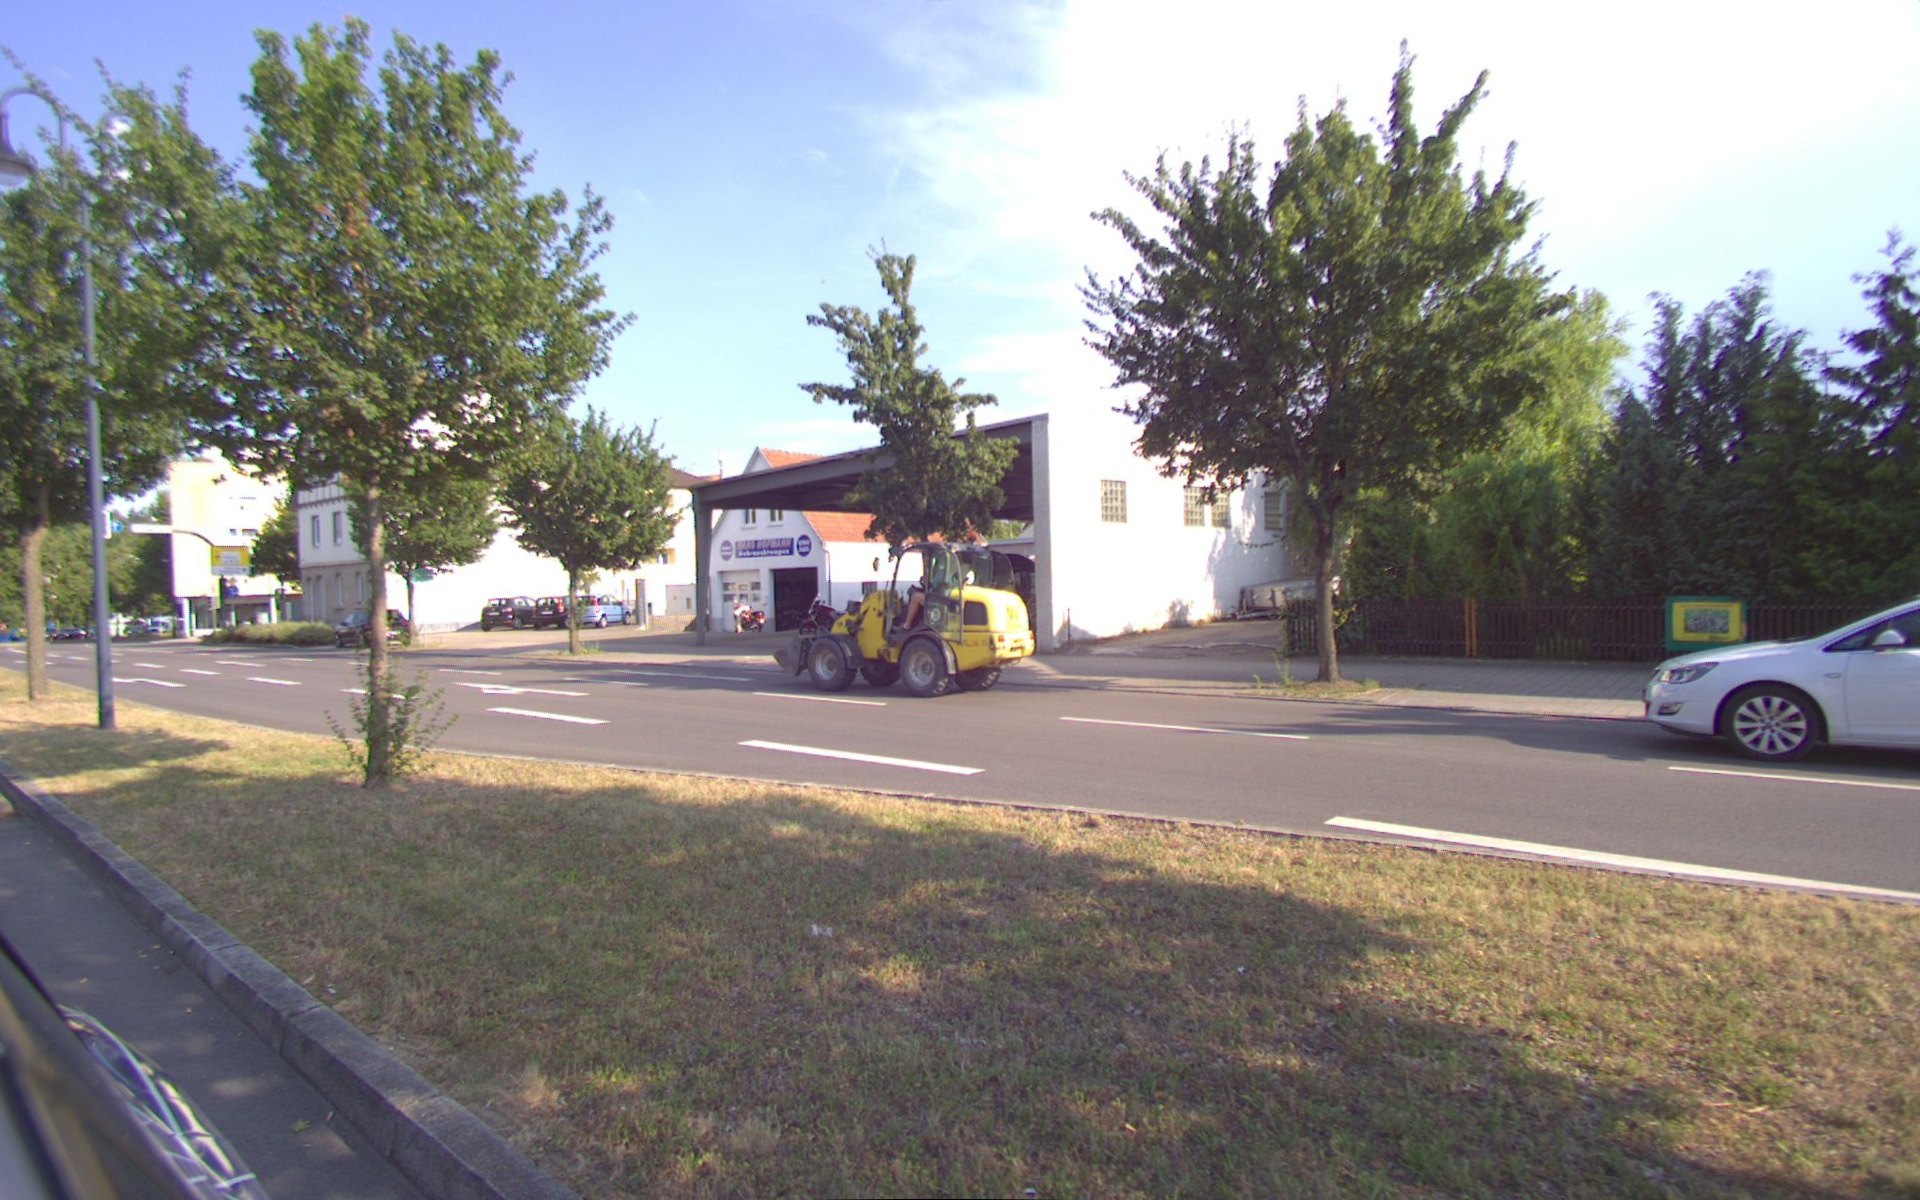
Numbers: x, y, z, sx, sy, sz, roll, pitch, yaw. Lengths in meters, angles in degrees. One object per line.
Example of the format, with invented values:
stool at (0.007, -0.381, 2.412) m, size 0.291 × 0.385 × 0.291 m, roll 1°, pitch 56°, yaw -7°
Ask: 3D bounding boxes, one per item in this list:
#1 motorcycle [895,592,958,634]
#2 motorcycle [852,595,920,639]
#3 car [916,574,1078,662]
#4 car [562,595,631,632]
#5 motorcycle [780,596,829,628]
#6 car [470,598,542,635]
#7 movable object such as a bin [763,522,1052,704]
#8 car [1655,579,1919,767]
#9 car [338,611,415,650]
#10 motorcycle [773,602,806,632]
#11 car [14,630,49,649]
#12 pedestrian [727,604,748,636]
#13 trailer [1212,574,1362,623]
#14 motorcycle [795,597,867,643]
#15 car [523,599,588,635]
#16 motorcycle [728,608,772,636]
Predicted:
motorcycle at (-1.145, 0.447, 34.556) m, size 2.089 × 1.332 × 0.488 m, roll -2°, pitch 0°, yaw 1°
motorcycle at (-2.397, 0.556, 32.652) m, size 2.095 × 1.332 × 0.487 m, roll -2°, pitch 0°, yaw 9°
car at (1.460, 0.651, 37.775) m, size 5.734 × 2.982 × 2.670 m, roll -2°, pitch 0°, yaw 8°
car at (-16.212, 0.581, 45.297) m, size 1.601 × 1.555 × 3.426 m, roll -1°, pitch 0°, yaw 5°
motorcycle at (-6.865, 0.520, 44.686) m, size 2.082 × 1.332 × 0.490 m, roll -2°, pitch 0°, yaw -28°
car at (-21.071, 0.737, 47.130) m, size 1.836 × 1.638 × 3.410 m, roll -1°, pitch 0°, yaw -1°
movable object such as a bin at (-0.994, 0.203, 16.074) m, size 4.977 × 2.480 × 1.536 m, roll -1°, pitch -1°, yaw 43°
car at (8.177, 0.537, 8.008) m, size 4.213 × 1.424 × 1.673 m, roll -1°, pitch 0°, yaw 43°
car at (-22.701, 1.158, 39.366) m, size 3.432 × 1.327 × 1.650 m, roll -1°, pitch 3°, yaw 44°
motorcycle at (-7.883, 0.759, 46.973) m, size 0.485 × 1.332 × 2.104 m, roll -2°, pitch 0°, yaw 21°
car at (-106.100, 4.457, 115.675) m, size 1.966 × 2.029 × 4.013 m, roll -1°, pitch 0°, yaw -28°
pedestrian at (-9.374, 0.836, 42.681) m, size 0.583 × 1.350 × 0.589 m, roll -1°, pitch 0°, yaw 33°
trailer at (8.664, -0.060, 26.830) m, size 3.312 × 1.121 × 2.174 m, roll -3°, pitch 1°, yaw -33°
motorcycle at (-3.961, 0.604, 31.093) m, size 2.096 × 1.332 × 0.487 m, roll -2°, pitch 0°, yaw 10°
car at (-18.616, 0.772, 46.719) m, size 1.566 × 1.576 × 3.429 m, roll -1°, pitch 0°, yaw 2°
motorcycle at (-8.943, 0.943, 43.009) m, size 2.114 × 1.155 × 0.483 m, roll -2°, pitch 0°, yaw 35°
